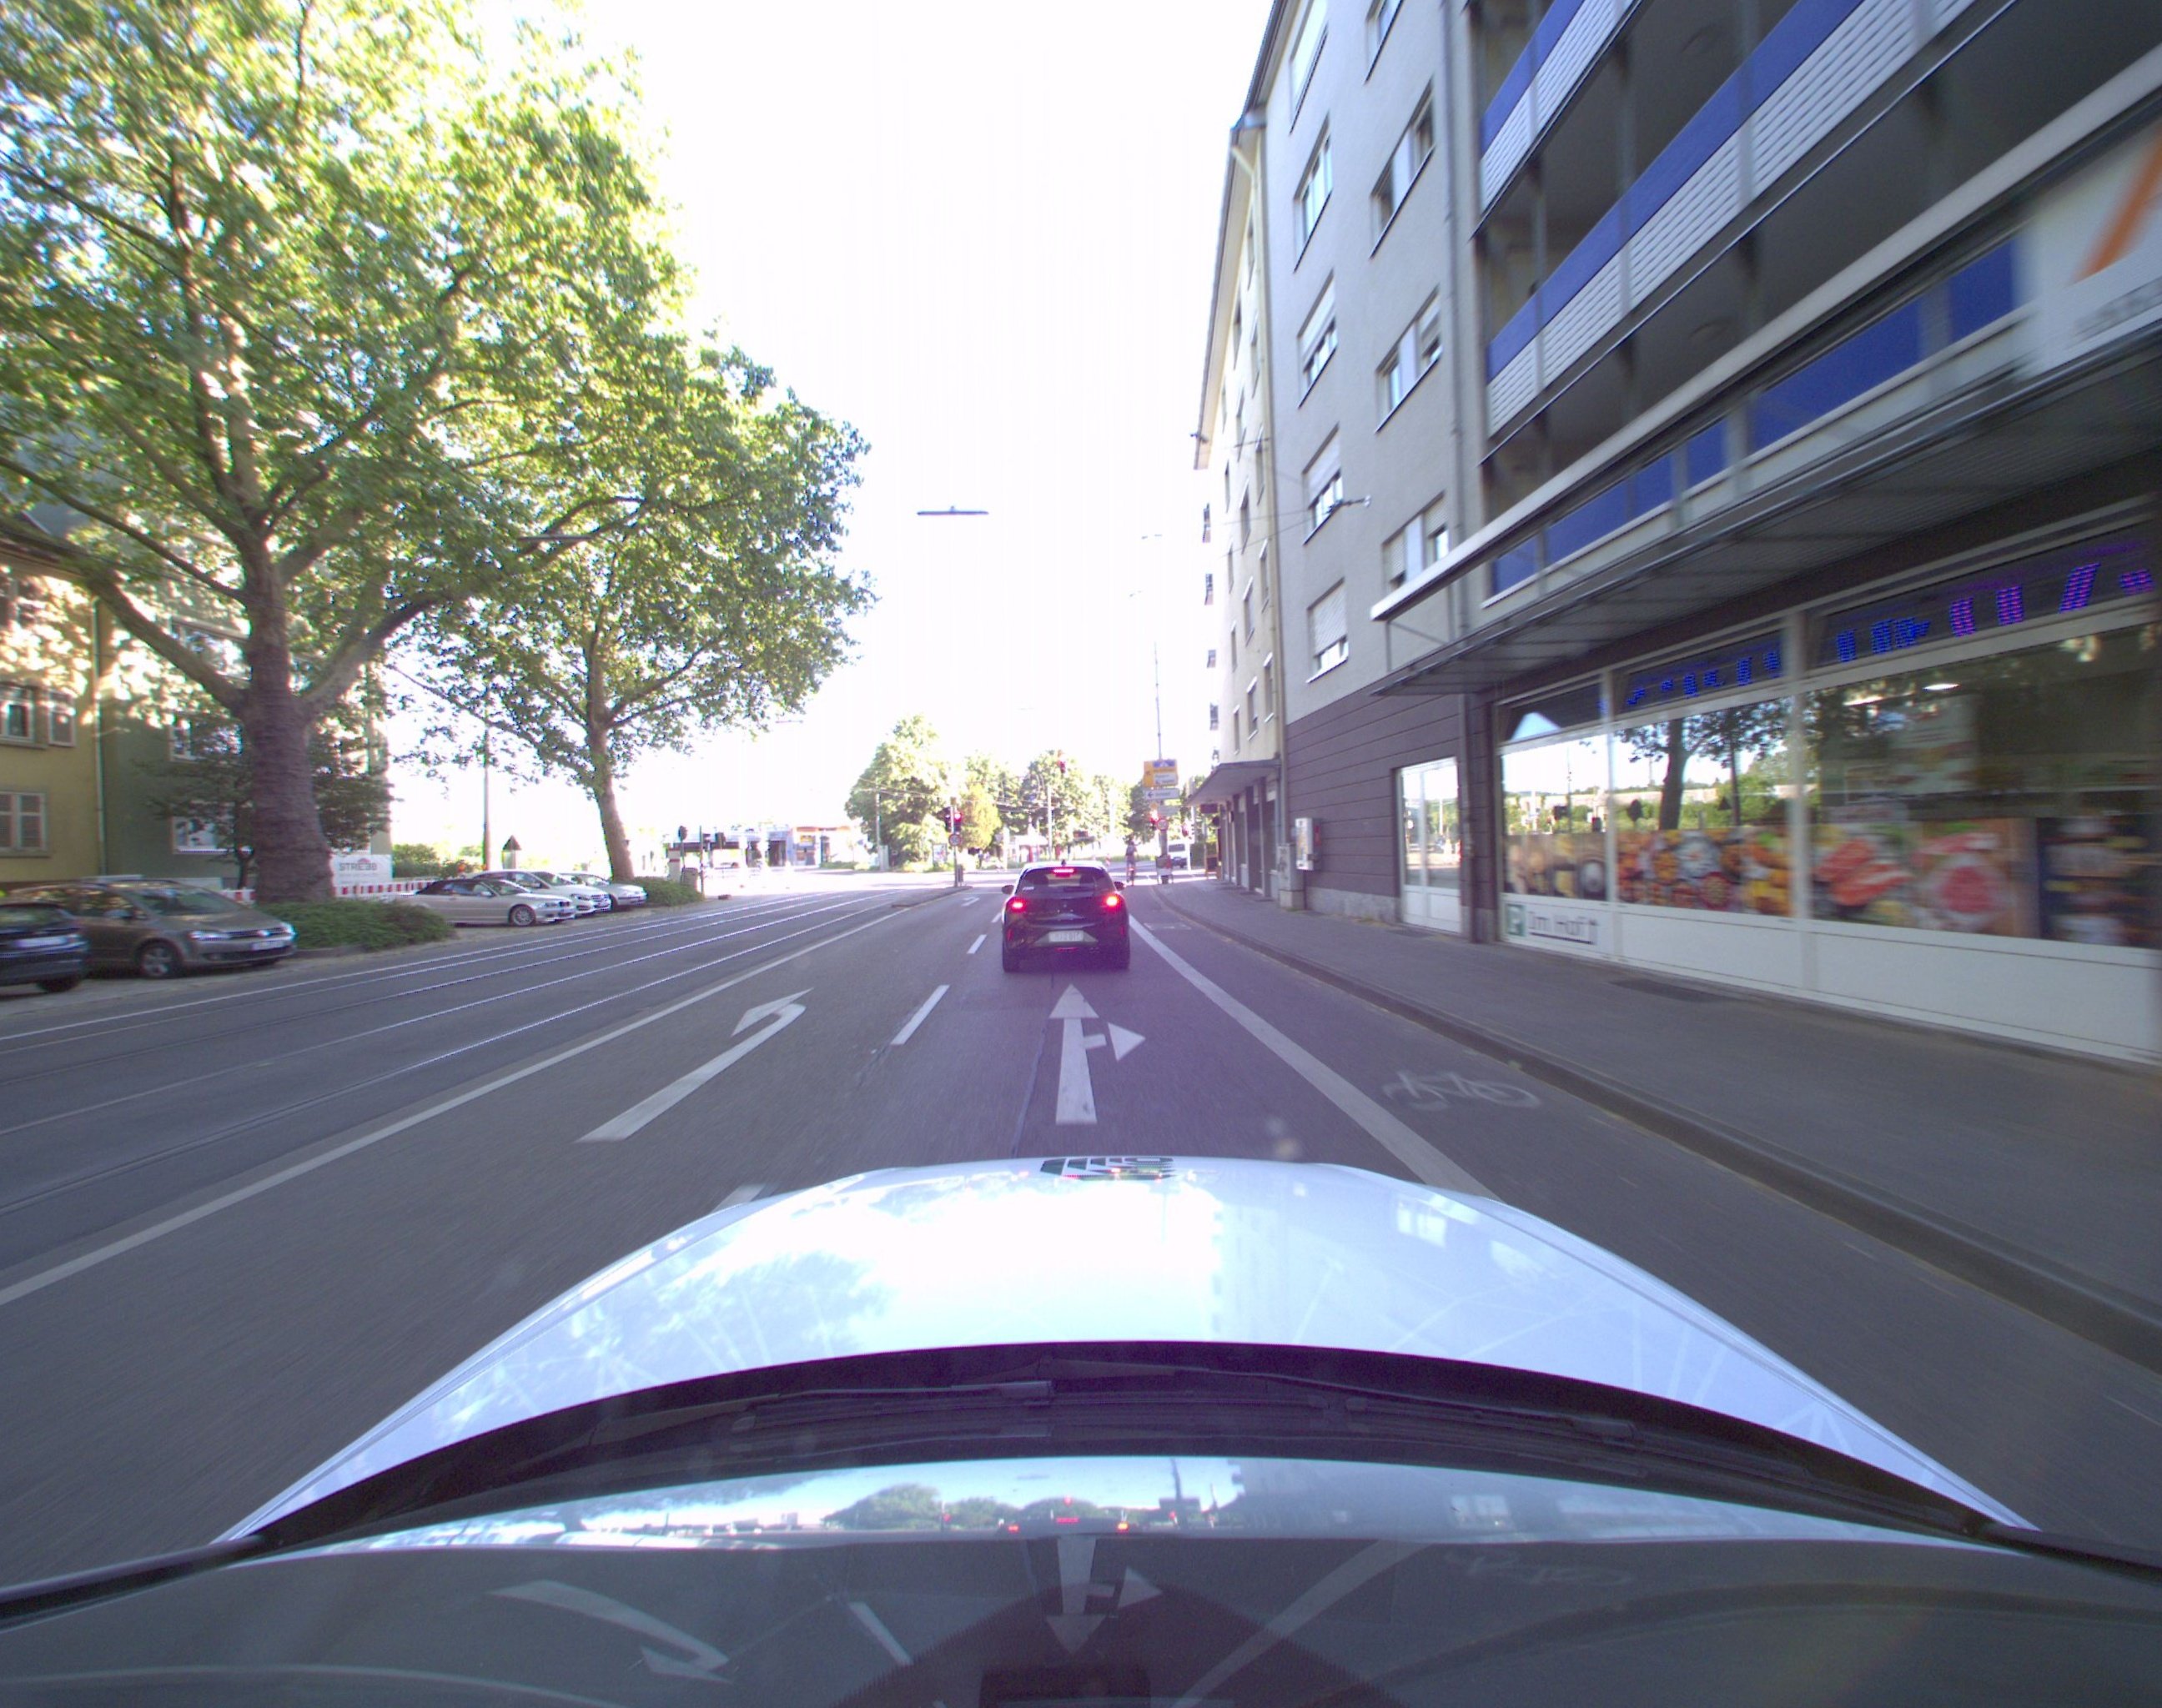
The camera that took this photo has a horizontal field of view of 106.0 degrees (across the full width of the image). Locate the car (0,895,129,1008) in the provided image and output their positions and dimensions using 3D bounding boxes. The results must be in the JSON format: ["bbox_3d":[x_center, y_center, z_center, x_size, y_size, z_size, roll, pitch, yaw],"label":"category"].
[{"bbox_3d":[-16.214,1.393,11.391,3.555,1.429,1.741,-2,0,-3],"label":"car"}]

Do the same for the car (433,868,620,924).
[{"bbox_3d":[-17.456,1.300,25.783,4.597,1.618,1.797,-1,0,-2],"label":"car"}]

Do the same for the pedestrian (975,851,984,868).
[{"bbox_3d":[-9.899,0.515,79.372,0.747,1.630,0.599,-1,-1,6],"label":"pedestrian"}]

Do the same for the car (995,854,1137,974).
[{"bbox_3d":[-0.193,0.746,12.189,1.722,1.429,4.186,-2,0,0],"label":"car"}]

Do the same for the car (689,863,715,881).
[{"bbox_3d":[-33.663,1.549,72.380,1.831,1.519,3.867,0,0,-21],"label":"car"}]

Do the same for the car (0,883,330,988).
[{"bbox_3d":[-16.010,1.353,14.154,4.175,1.605,1.814,0,0,-1],"label":"car"}]

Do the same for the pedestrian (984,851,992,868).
[{"bbox_3d":[-9.038,0.508,79.436,0.633,1.630,0.573,-1,-1,6],"label":"pedestrian"}]

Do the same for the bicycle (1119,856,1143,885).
[{"bbox_3d":[2.154,0.711,35.448,0.857,1.153,2.171,-3,0,-1],"label":"bicycle"}]

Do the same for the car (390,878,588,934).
[{"bbox_3d":[-16.664,1.429,23.070,4.231,1.368,1.727,-1,0,-3],"label":"car"}]

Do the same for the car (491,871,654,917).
[{"bbox_3d":[-17.571,1.369,28.283,4.500,1.429,1.675,-1,0,-2],"label":"car"}]

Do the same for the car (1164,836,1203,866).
[{"bbox_3d":[8.132,-0.282,64.336,2.047,2.248,4.910,-2,0,18],"label":"car"}]

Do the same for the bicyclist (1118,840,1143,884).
[{"bbox_3d":[2.136,0.338,35.402,0.939,1.851,0.863,-3,0,-1],"label":"bicyclist"}]

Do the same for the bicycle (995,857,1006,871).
[{"bbox_3d":[-6.321,0.776,64.111,0.603,1.031,1.981,-2,0,0],"label":"bicycle"}]
